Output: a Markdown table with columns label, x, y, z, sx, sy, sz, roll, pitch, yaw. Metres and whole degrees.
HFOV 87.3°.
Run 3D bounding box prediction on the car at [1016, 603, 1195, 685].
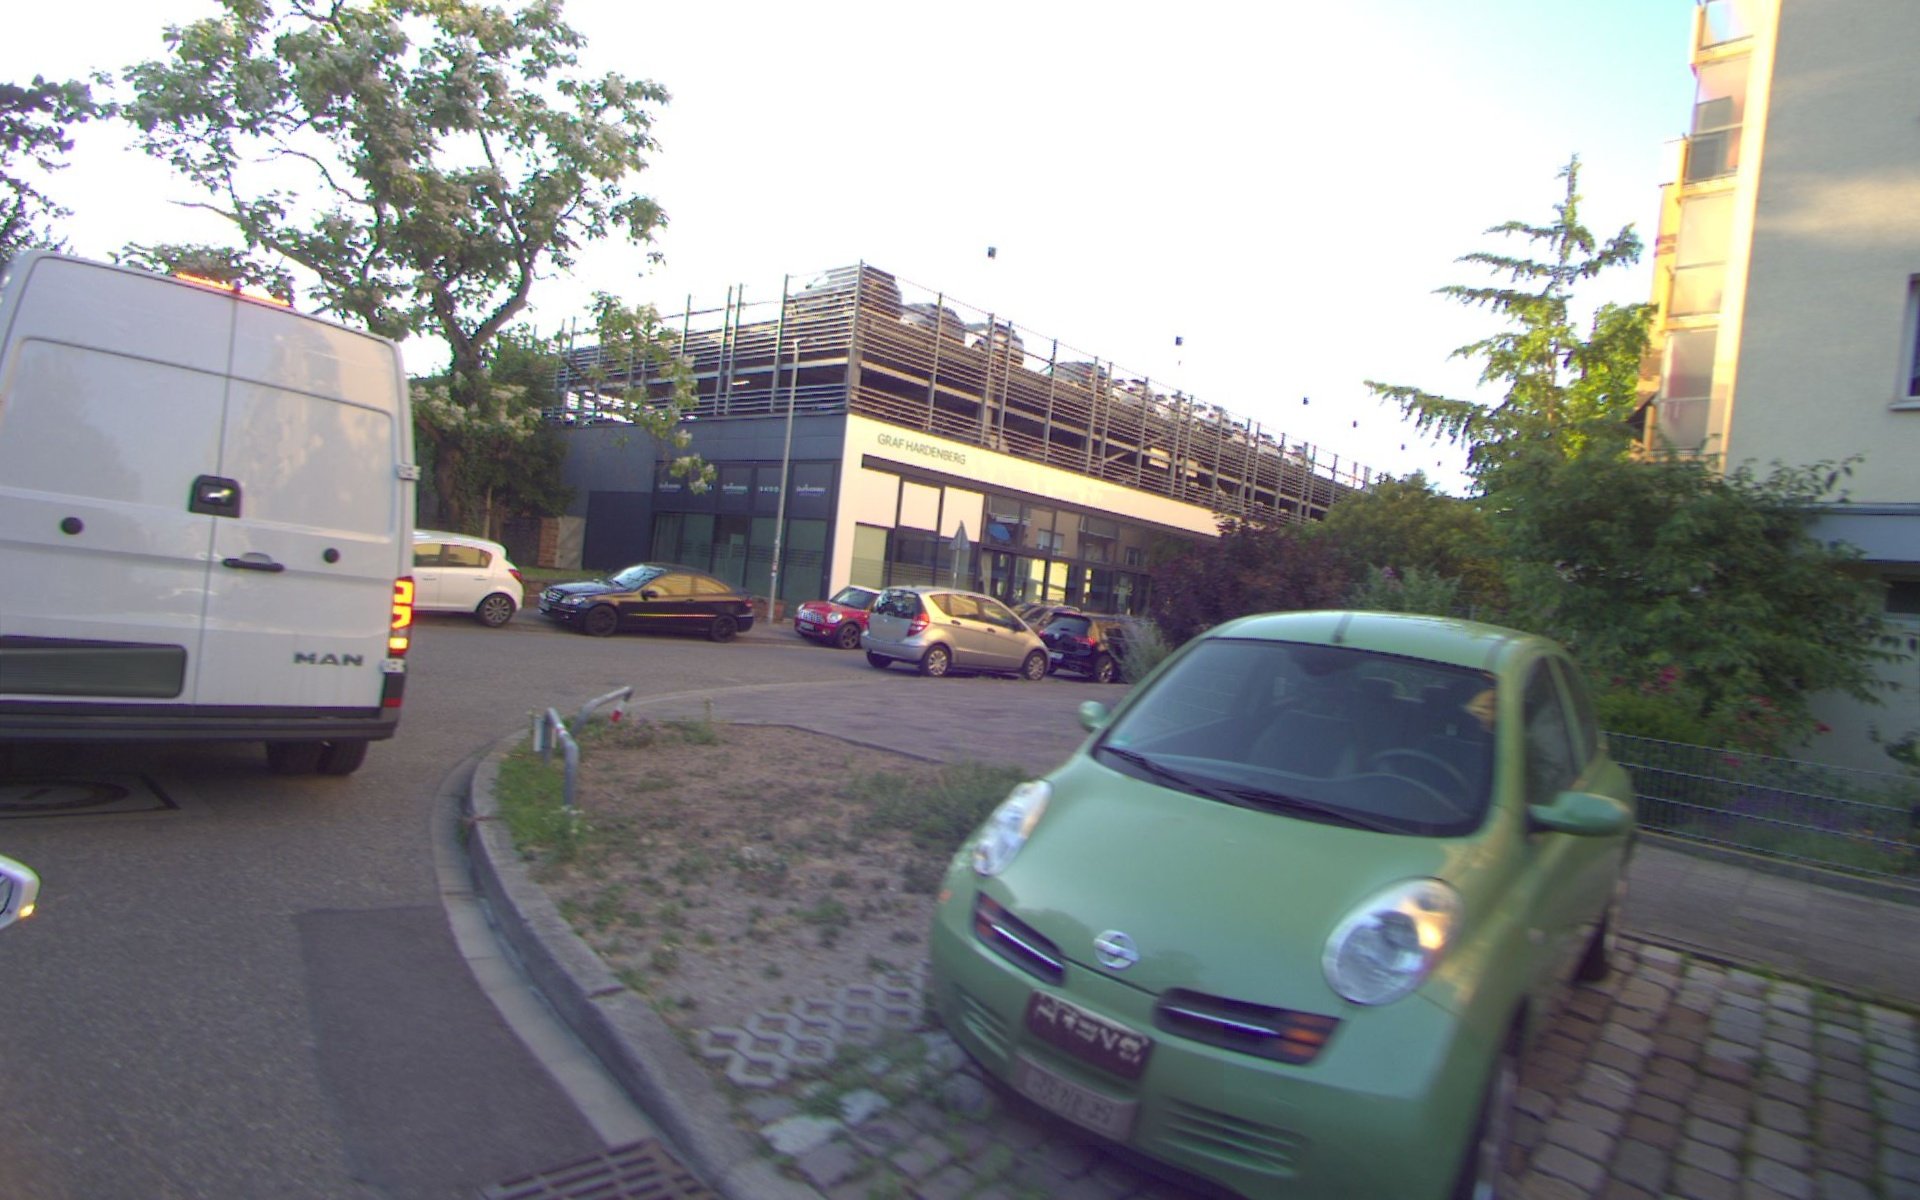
| label | x | y | z | sx | sy | sz | roll | pitch | yaw |
| --- | --- | --- | --- | --- | --- | --- | --- | --- | --- |
| car | 3.232 | 0.983 | 22.000 | 3.823 | 1.481 | 1.800 | 5 | 2 | -44 |

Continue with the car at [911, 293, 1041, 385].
| label | x | y | z | sx | sy | sz | roll | pitch | yaw |
| --- | --- | --- | --- | --- | --- | --- | --- | --- | --- |
| car | 0.480 | -8.605 | 33.521 | 1.987 | 2.038 | 3.952 | 7 | 0 | -43 |

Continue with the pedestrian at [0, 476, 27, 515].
| label | x | y | z | sx | sy | sz | roll | pitch | yaw |
| --- | --- | --- | --- | --- | --- | --- | --- | --- | --- |
| pedestrian | -38.736 | -4.266 | 40.689 | 1.031 | 1.463 | 1.326 | 8 | 2 | 41 |

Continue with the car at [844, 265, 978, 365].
| label | x | y | z | sx | sy | sz | roll | pitch | yaw |
| --- | --- | --- | --- | --- | --- | --- | --- | --- | --- |
| car | -1.608 | -8.889 | 31.738 | 1.987 | 2.038 | 3.952 | 7 | 0 | -43 |

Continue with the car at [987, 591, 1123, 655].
| label | x | y | z | sx | sy | sz | roll | pitch | yaw |
| --- | --- | --- | --- | --- | --- | --- | --- | --- | --- |
| car | 2.811 | 0.697 | 29.276 | 3.823 | 1.523 | 1.800 | 5 | 2 | -44 |

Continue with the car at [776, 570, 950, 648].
| label | x | y | z | sx | sy | sz | roll | pitch | yaw |
| --- | --- | --- | --- | --- | --- | --- | --- | --- | --- |
| car | -2.289 | 0.244 | 24.415 | 3.823 | 1.523 | 1.800 | 5 | 2 | -44 |

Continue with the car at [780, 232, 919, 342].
| label | x | y | z | sx | sy | sz | roll | pitch | yaw |
| --- | --- | --- | --- | --- | --- | --- | --- | --- | --- |
| car | -3.328 | -9.154 | 29.844 | 1.987 | 2.038 | 3.952 | 7 | 0 | -43 |

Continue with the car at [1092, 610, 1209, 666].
| label | x | y | z | sx | sy | sz | roll | pitch | yaw |
| --- | --- | --- | --- | --- | --- | --- | --- | --- | --- |
| car | 6.297 | 1.255 | 33.115 | 3.823 | 1.523 | 1.800 | 5 | 2 | -44 |

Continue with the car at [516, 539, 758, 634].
| label | x | y | z | sx | sy | sz | roll | pitch | yaw |
| --- | --- | --- | --- | --- | --- | --- | --- | --- | --- |
| car | -6.505 | -0.238 | 20.539 | 4.277 | 1.523 | 1.800 | 5 | 2 | -44 |

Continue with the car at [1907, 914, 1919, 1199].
| label | x | y | z | sx | sy | sz | roll | pitch | yaw |
| --- | --- | --- | --- | --- | --- | --- | --- | --- | --- |
| car | 3.882 | 0.894 | 2.671 | 1.821 | 1.654 | 4.385 | 7 | 5 | 44 |

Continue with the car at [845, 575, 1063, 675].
| label | x | y | z | sx | sy | sz | roll | pitch | yaw |
| --- | --- | --- | --- | --- | --- | --- | --- | --- | --- |
| car | -0.047 | 0.503 | 18.941 | 3.823 | 1.543 | 1.800 | 5 | 2 | -44 |

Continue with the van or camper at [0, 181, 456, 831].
| label | x | y | z | sx | sy | sz | roll | pitch | yaw |
| --- | --- | --- | --- | --- | --- | --- | --- | --- | --- |
| van or camper | -5.739 | -0.531 | 6.814 | 6.319 | 2.650 | 1.989 | 6 | -1 | 44 |

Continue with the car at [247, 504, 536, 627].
| label | x | y | z | sx | sy | sz | roll | pitch | yaw |
| --- | --- | --- | --- | --- | --- | --- | --- | --- | --- |
| car | -9.755 | -0.546 | 17.475 | 1.930 | 1.593 | 3.850 | 7 | 0 | 40 |

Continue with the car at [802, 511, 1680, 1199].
| label | x | y | z | sx | sy | sz | roll | pitch | yaw |
| --- | --- | --- | --- | --- | --- | --- | --- | --- | --- |
| car | 1.650 | 0.716 | 4.202 | 1.820 | 1.652 | 4.396 | 5 | 0 | 40 |
